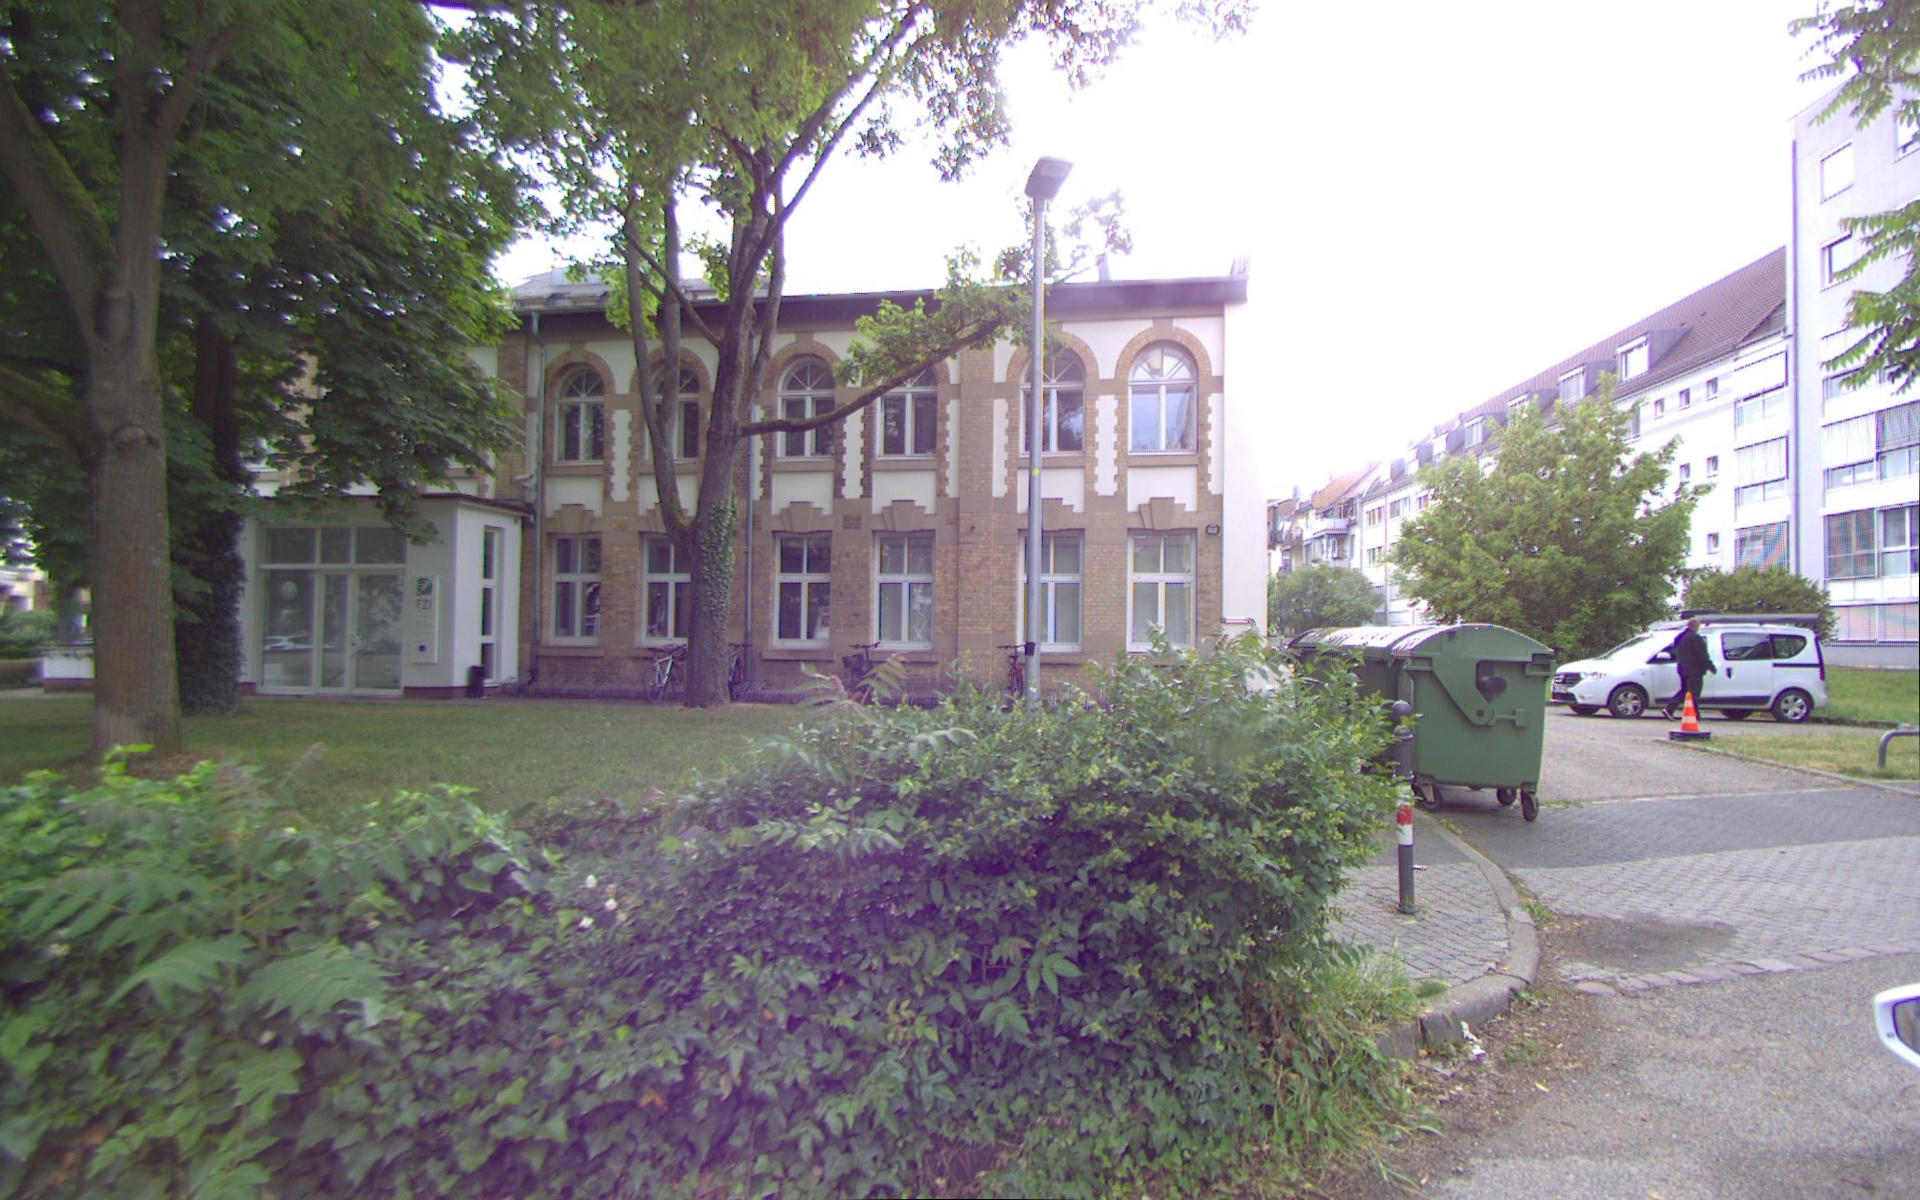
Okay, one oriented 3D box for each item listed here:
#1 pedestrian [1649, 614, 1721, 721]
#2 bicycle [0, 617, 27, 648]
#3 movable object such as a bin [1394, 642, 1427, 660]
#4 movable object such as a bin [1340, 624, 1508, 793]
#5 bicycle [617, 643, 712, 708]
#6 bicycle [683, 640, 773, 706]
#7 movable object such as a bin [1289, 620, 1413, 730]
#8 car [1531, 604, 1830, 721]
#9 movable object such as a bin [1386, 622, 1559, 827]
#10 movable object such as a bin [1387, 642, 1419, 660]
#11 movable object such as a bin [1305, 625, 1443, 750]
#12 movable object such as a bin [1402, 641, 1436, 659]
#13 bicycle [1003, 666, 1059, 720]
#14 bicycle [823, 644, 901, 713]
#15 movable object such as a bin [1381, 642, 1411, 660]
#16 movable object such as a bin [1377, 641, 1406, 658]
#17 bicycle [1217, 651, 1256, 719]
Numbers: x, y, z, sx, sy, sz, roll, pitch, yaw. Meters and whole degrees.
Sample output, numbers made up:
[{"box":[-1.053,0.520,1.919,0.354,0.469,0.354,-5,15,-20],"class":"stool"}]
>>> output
[{"box":[12.787,1.191,17.743,0.741,1.832,0.699,0,-3,5],"class":"pedestrian"},{"box":[-36.363,1.217,37.981,0.655,1.131,1.862,3,-4,-13],"class":"bicycle"},{"box":[17.153,1.935,38.272,0.948,0.645,0.912,1,-3,11],"class":"movable object such as a bin"},{"box":[4.377,0.988,9.600,1.034,1.475,1.355,1,-2,4],"class":"movable object such as a bin"},{"box":[-5.504,1.374,18.874,0.606,1.134,2.223,0,-2,16],"class":"bicycle"},{"box":[-4.209,1.304,18.417,0.606,1.134,2.223,0,-2,16],"class":"bicycle"},{"box":[4.821,0.904,12.511,1.035,1.281,1.354,0,-1,1],"class":"movable object such as a bin"},{"box":[13.521,1.167,19.090,4.263,2.040,1.856,1,-3,5],"class":"car"},{"box":[4.096,0.932,8.165,1.035,1.469,1.355,0,0,18],"class":"movable object such as a bin"},{"box":[17.395,2.006,39.472,0.948,0.645,0.912,1,-3,11],"class":"movable object such as a bin"},{"box":[4.531,0.929,11.118,1.034,1.281,1.355,0,-1,4],"class":"movable object such as a bin"},{"box":[16.952,1.864,37.138,0.948,0.645,0.912,1,-3,11],"class":"movable object such as a bin"},{"box":[1.273,1.603,17.631,0.606,0.824,1.946,0,-2,16],"class":"bicycle"},{"box":[-1.702,1.361,17.881,0.606,1.134,2.223,0,-2,16],"class":"bicycle"},{"box":[17.596,2.069,40.517,0.948,0.688,0.812,1,-3,11],"class":"movable object such as a bin"},{"box":[17.791,2.056,41.447,0.948,0.688,0.871,1,-3,11],"class":"movable object such as a bin"},{"box":[4.726,1.429,17.245,0.388,1.079,1.830,0,-2,7],"class":"bicycle"}]
